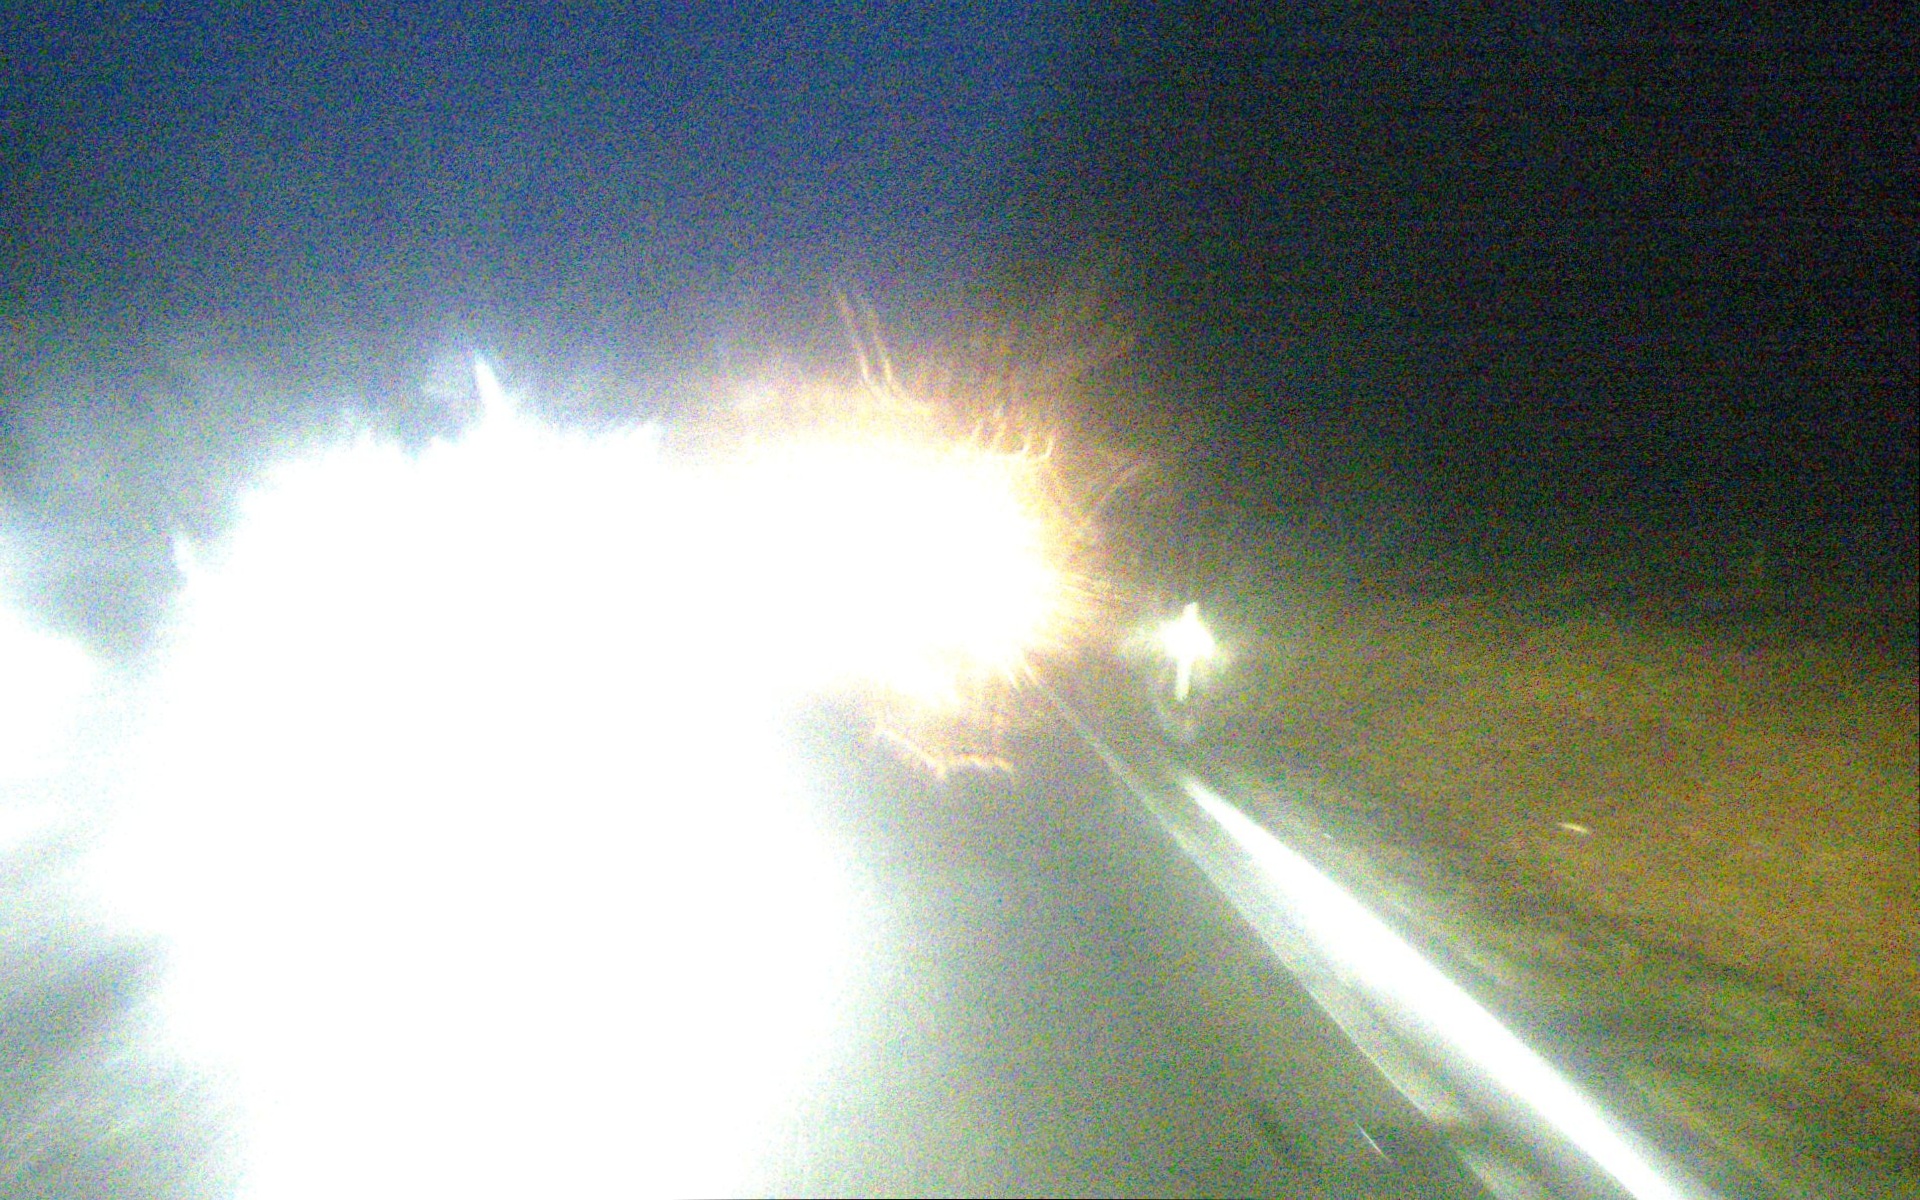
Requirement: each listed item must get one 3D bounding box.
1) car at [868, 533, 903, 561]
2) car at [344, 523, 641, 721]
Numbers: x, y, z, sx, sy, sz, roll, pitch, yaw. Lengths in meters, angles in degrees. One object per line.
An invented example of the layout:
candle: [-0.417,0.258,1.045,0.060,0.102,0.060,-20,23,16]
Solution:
car: [-4.417,-3.157,204.373,1.993,1.660,4.000,0,1,-1]
car: [-4.089,0.150,30.760,2.097,1.633,4.456,0,1,-1]
